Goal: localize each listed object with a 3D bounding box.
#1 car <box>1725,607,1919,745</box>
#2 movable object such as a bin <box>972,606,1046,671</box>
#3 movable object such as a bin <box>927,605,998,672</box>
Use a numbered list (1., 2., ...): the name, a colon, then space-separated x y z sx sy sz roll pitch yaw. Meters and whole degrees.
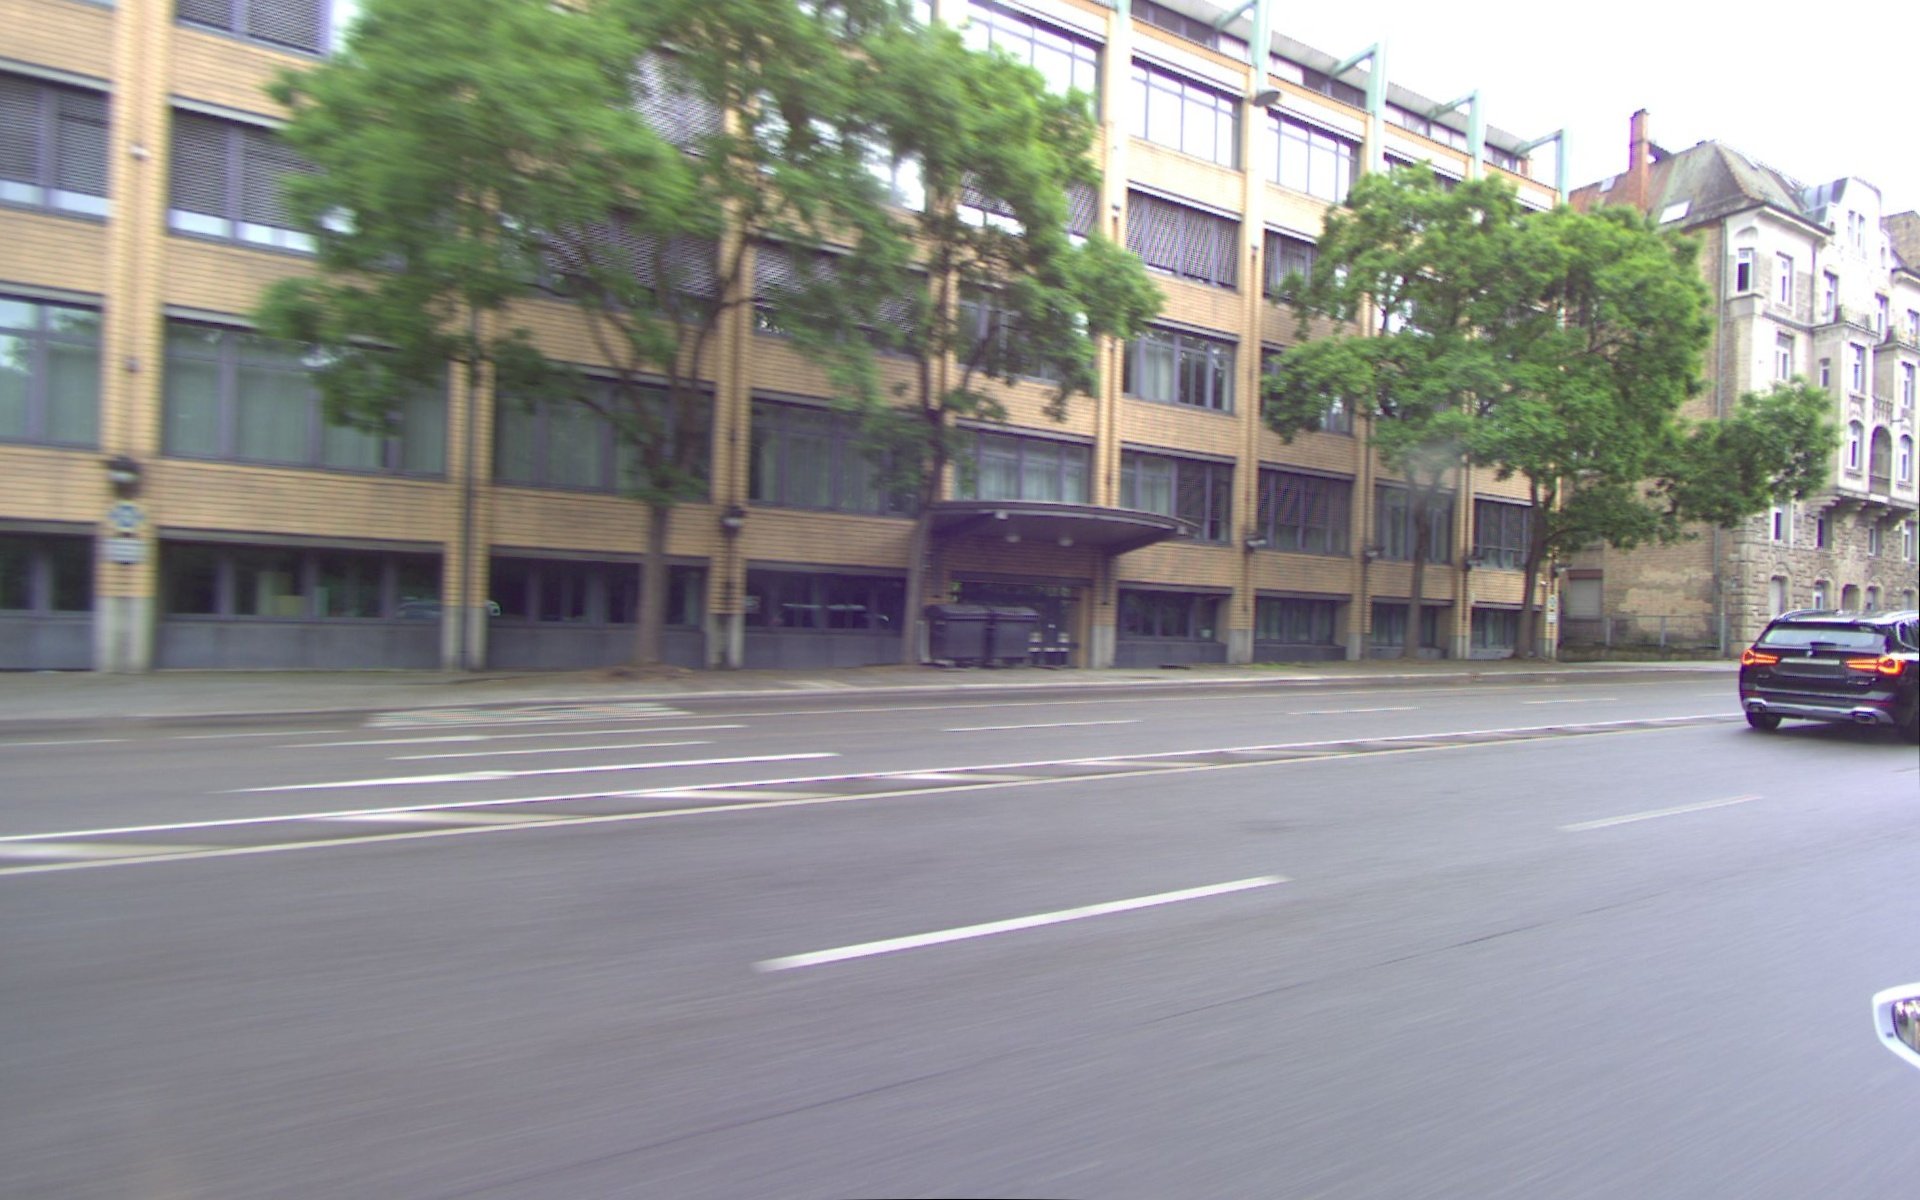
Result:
1. car: 12.557 0.966 13.786 4.361 1.607 1.749 2 0 -31
2. movable object such as a bin: 1.165 0.907 23.876 1.358 1.455 1.061 1 1 -34
3. movable object such as a bin: 0.054 0.874 23.125 1.301 1.455 0.967 1 1 -34
